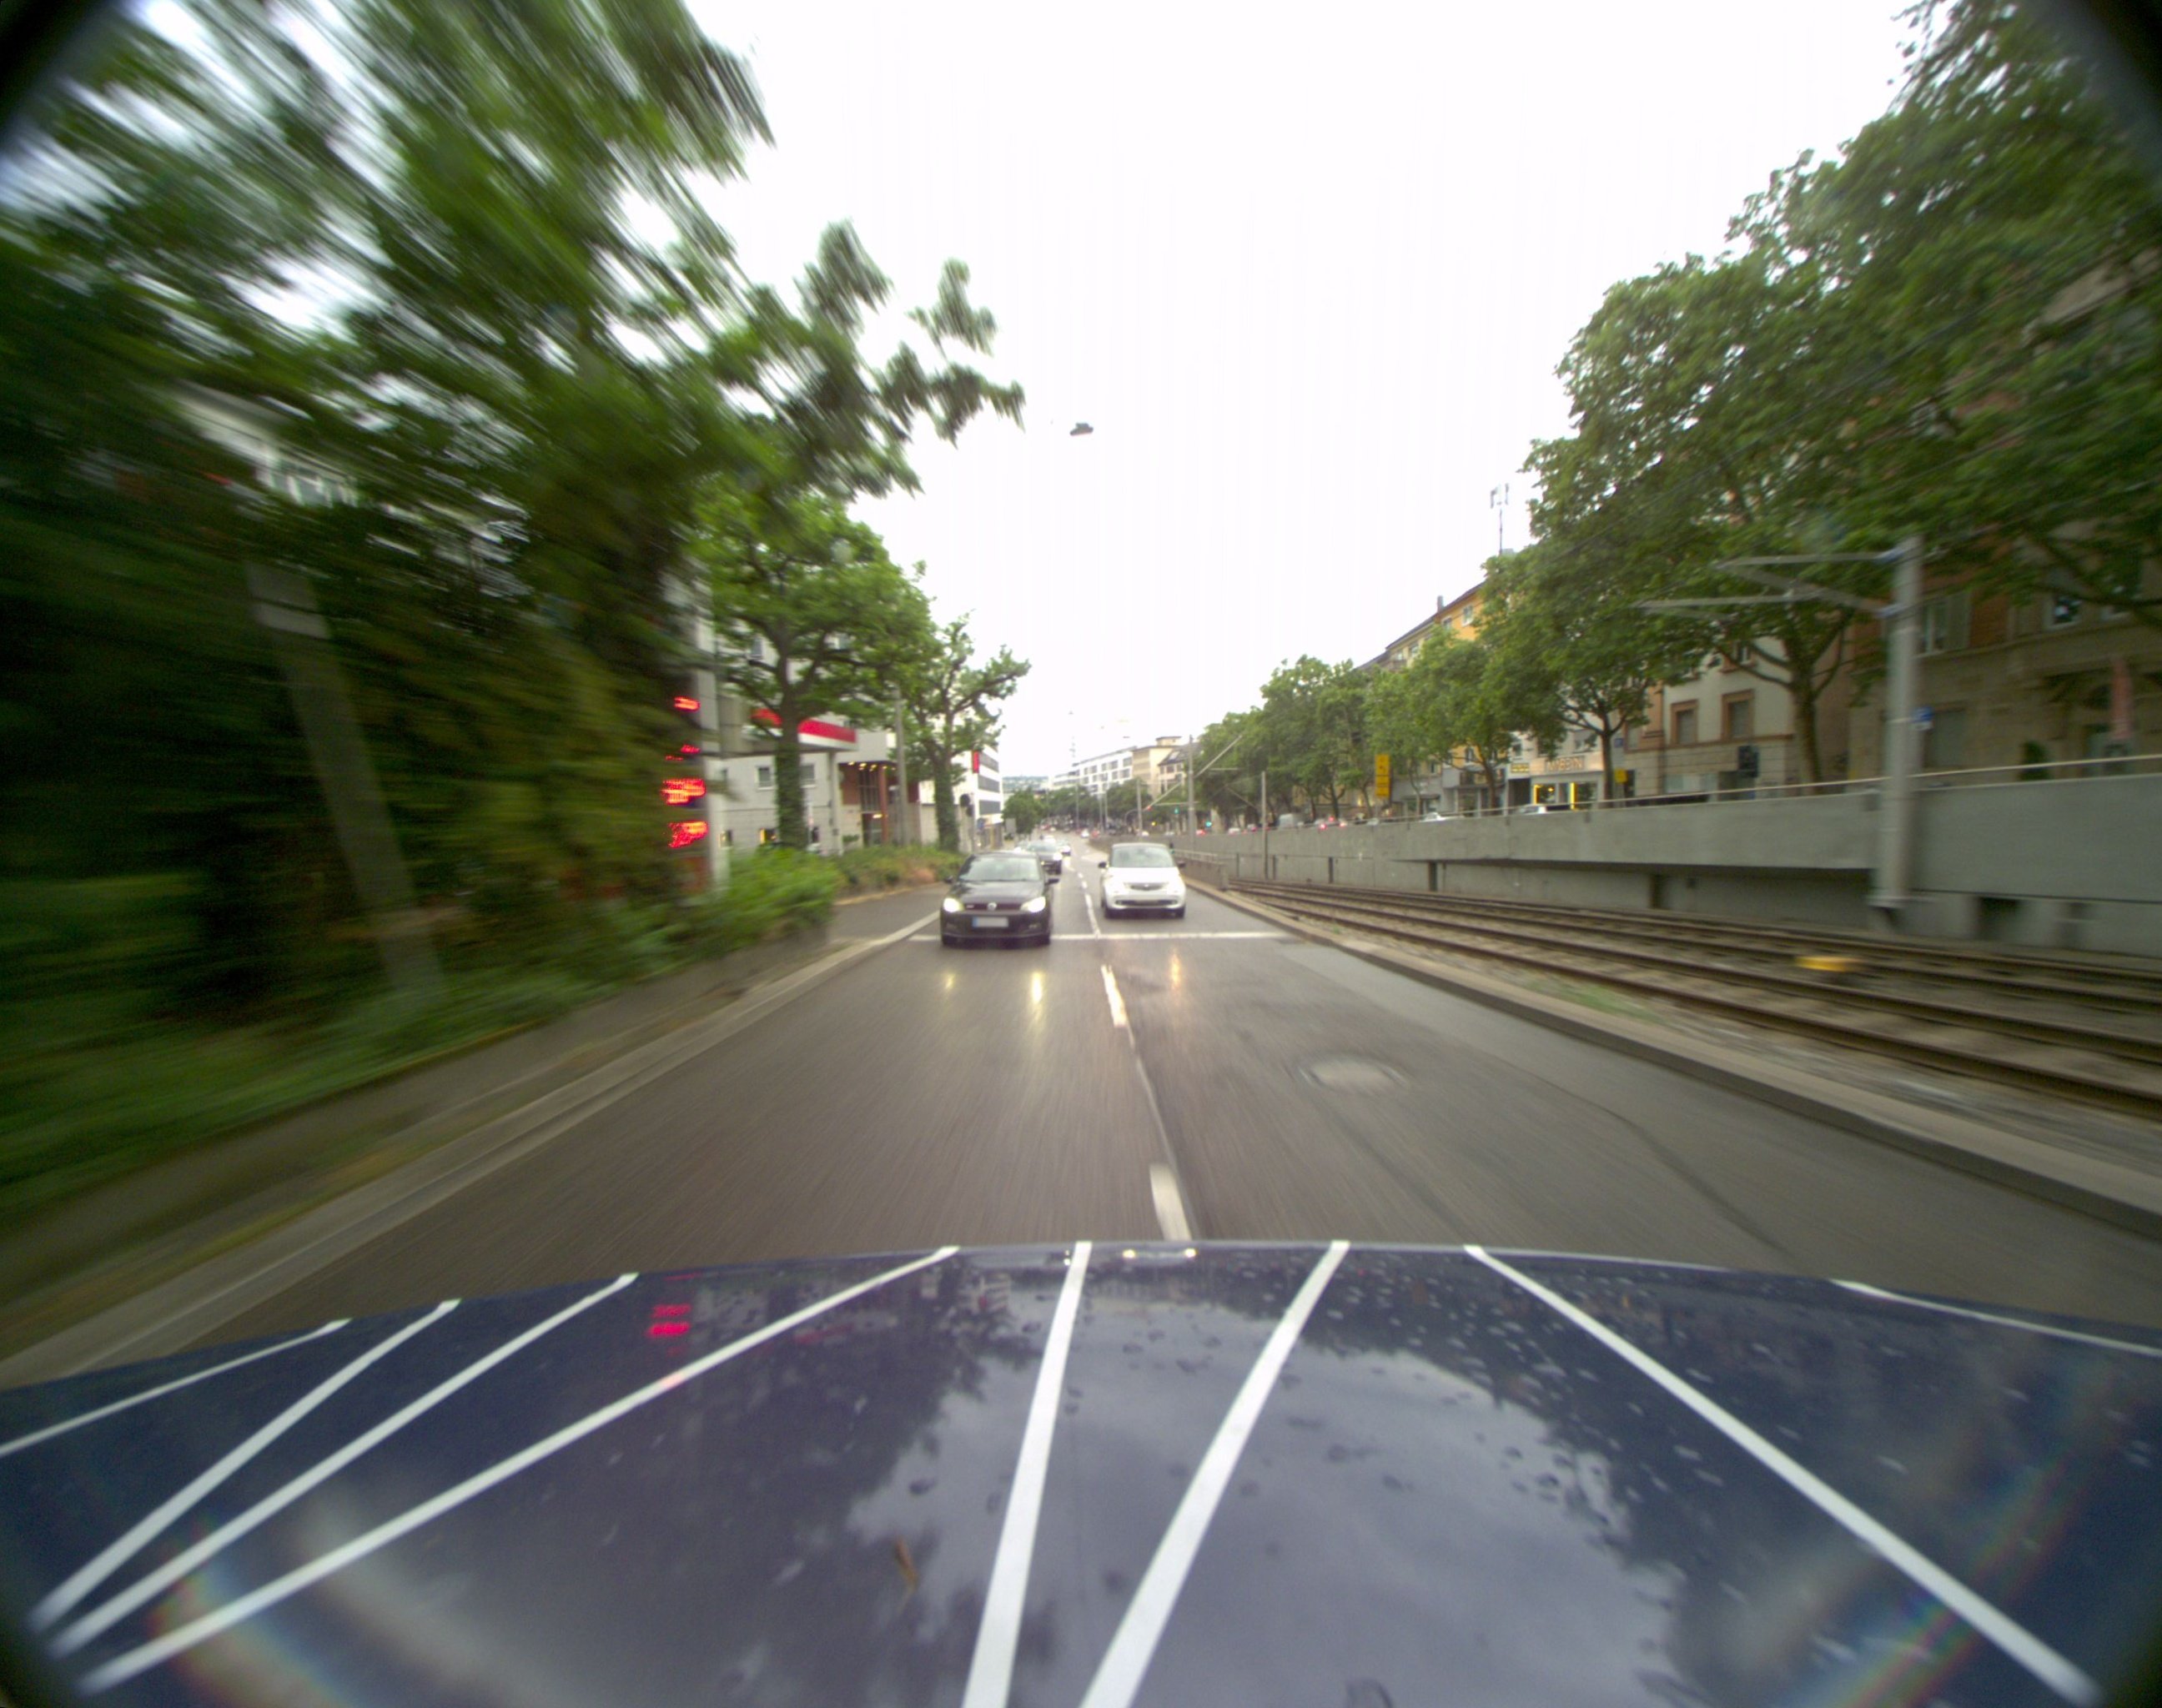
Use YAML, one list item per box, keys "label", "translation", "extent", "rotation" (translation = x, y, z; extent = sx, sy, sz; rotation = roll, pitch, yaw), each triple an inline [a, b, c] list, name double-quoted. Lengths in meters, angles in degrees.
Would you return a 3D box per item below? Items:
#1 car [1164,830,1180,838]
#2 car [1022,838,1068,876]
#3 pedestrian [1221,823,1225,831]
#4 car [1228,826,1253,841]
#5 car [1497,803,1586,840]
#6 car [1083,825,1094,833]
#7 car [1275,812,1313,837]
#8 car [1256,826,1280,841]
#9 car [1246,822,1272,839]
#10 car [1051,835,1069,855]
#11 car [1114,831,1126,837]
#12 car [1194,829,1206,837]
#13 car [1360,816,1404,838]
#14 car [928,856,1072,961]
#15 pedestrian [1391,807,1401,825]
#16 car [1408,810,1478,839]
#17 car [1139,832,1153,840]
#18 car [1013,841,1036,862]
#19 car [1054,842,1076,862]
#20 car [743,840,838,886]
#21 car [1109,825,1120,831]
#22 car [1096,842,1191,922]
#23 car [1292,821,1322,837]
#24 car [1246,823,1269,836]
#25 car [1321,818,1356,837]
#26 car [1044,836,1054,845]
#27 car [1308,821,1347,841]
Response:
- label: "car"
  translation: [18.561, -4.041, 155.444]
  extent: [2.032, 1.502, 4.879]
  rotation: [-4, 1, -5]
- label: "car"
  translation: [-1.604, 0.103, 34.720]
  extent: [1.751, 1.433, 3.705]
  rotation: [-5, 3, 1]
- label: "pedestrian"
  translation: [31.418, -5.967, 168.345]
  extent: [0.590, 1.799, 0.674]
  rotation: [-4, 3, 6]
- label: "car"
  translation: [17.391, -2.210, 82.916]
  extent: [1.799, 1.502, 3.998]
  rotation: [-4, 1, -1]
- label: "car"
  translation: [22.337, -1.548, 37.039]
  extent: [1.799, 1.602, 4.111]
  rotation: [-4, 1, 0]
- label: "car"
  translation: [2.019, -6.567, 199.856]
  extent: [1.800, 1.734, 3.994]
  rotation: [-5, 3, -13]
- label: "car"
  translation: [24.380, -3.353, 87.236]
  extent: [2.458, 2.647, 6.930]
  rotation: [-4, 1, 1]
- label: "car"
  translation: [24.270, -2.706, 98.970]
  extent: [1.881, 1.754, 4.900]
  rotation: [-4, 1, 1]
- label: "car"
  translation: [20.835, -2.731, 89.163]
  extent: [1.961, 1.842, 4.967]
  rotation: [-4, 1, 2]
- label: "car"
  translation: [-2.330, -1.019, 85.767]
  extent: [1.799, 2.021, 3.998]
  rotation: [-5, 3, -1]
- label: "car"
  translation: [10.202, -5.234, 199.246]
  extent: [1.801, 1.502, 4.337]
  rotation: [-4, 3, -14]
- label: "car"
  translation: [24.446, -4.397, 155.891]
  extent: [1.850, 1.502, 4.016]
  rotation: [-4, 1, 3]
- label: "car"
  translation: [23.206, -2.050, 58.764]
  extent: [1.798, 1.502, 4.207]
  rotation: [-4, 1, 2]
- label: "car"
  translation: [-1.182, 0.776, 12.713]
  extent: [1.677, 1.392, 3.849]
  rotation: [1, 1, 5]
- label: "pedestrian"
  translation: [30.075, -3.622, 72.533]
  extent: [0.524, 1.738, 0.621]
  rotation: [-6, 2, 9]
- label: "car"
  translation: [22.836, -1.819, 48.211]
  extent: [1.932, 1.592, 5.198]
  rotation: [-4, 1, 1]
- label: "car"
  translation: [15.213, -4.226, 177.801]
  extent: [1.852, 1.502, 4.816]
  rotation: [-5, 1, -11]
- label: "car"
  translation: [-5.264, -0.257, 71.656]
  extent: [1.799, 1.657, 3.998]
  rotation: [-5, 3, -1]
- label: "car"
  translation: [-1.406, -0.208, 68.118]
  extent: [1.799, 1.502, 3.998]
  rotation: [-5, 3, -1]
- label: "car"
  translation: [-11.313, 0.299, 29.907]
  extent: [1.775, 1.614, 3.867]
  rotation: [0, 2, 9]
- label: "car"
  translation: [9.335, -7.315, 214.326]
  extent: [1.801, 1.502, 3.994]
  rotation: [-5, 3, -15]
- label: "car"
  translation: [1.283, 0.523, 17.193]
  extent: [1.799, 1.528, 3.998]
  rotation: [-1, 2, 0]
- label: "car"
  translation: [23.967, -2.636, 80.807]
  extent: [1.798, 1.502, 4.671]
  rotation: [-4, 1, 1]
- label: "car"
  translation: [25.095, -3.468, 108.191]
  extent: [1.882, 1.754, 4.898]
  rotation: [-4, 1, -3]
- label: "car"
  translation: [23.487, -2.364, 69.448]
  extent: [1.798, 1.562, 4.207]
  rotation: [-4, 1, 2]
- label: "car"
  translation: [-6.717, -2.872, 160.018]
  extent: [1.799, 1.502, 3.997]
  rotation: [-5, 3, -4]
- label: "car"
  translation: [19.897, -1.849, 61.395]
  extent: [1.798, 1.502, 4.107]
  rotation: [-4, 1, 1]
